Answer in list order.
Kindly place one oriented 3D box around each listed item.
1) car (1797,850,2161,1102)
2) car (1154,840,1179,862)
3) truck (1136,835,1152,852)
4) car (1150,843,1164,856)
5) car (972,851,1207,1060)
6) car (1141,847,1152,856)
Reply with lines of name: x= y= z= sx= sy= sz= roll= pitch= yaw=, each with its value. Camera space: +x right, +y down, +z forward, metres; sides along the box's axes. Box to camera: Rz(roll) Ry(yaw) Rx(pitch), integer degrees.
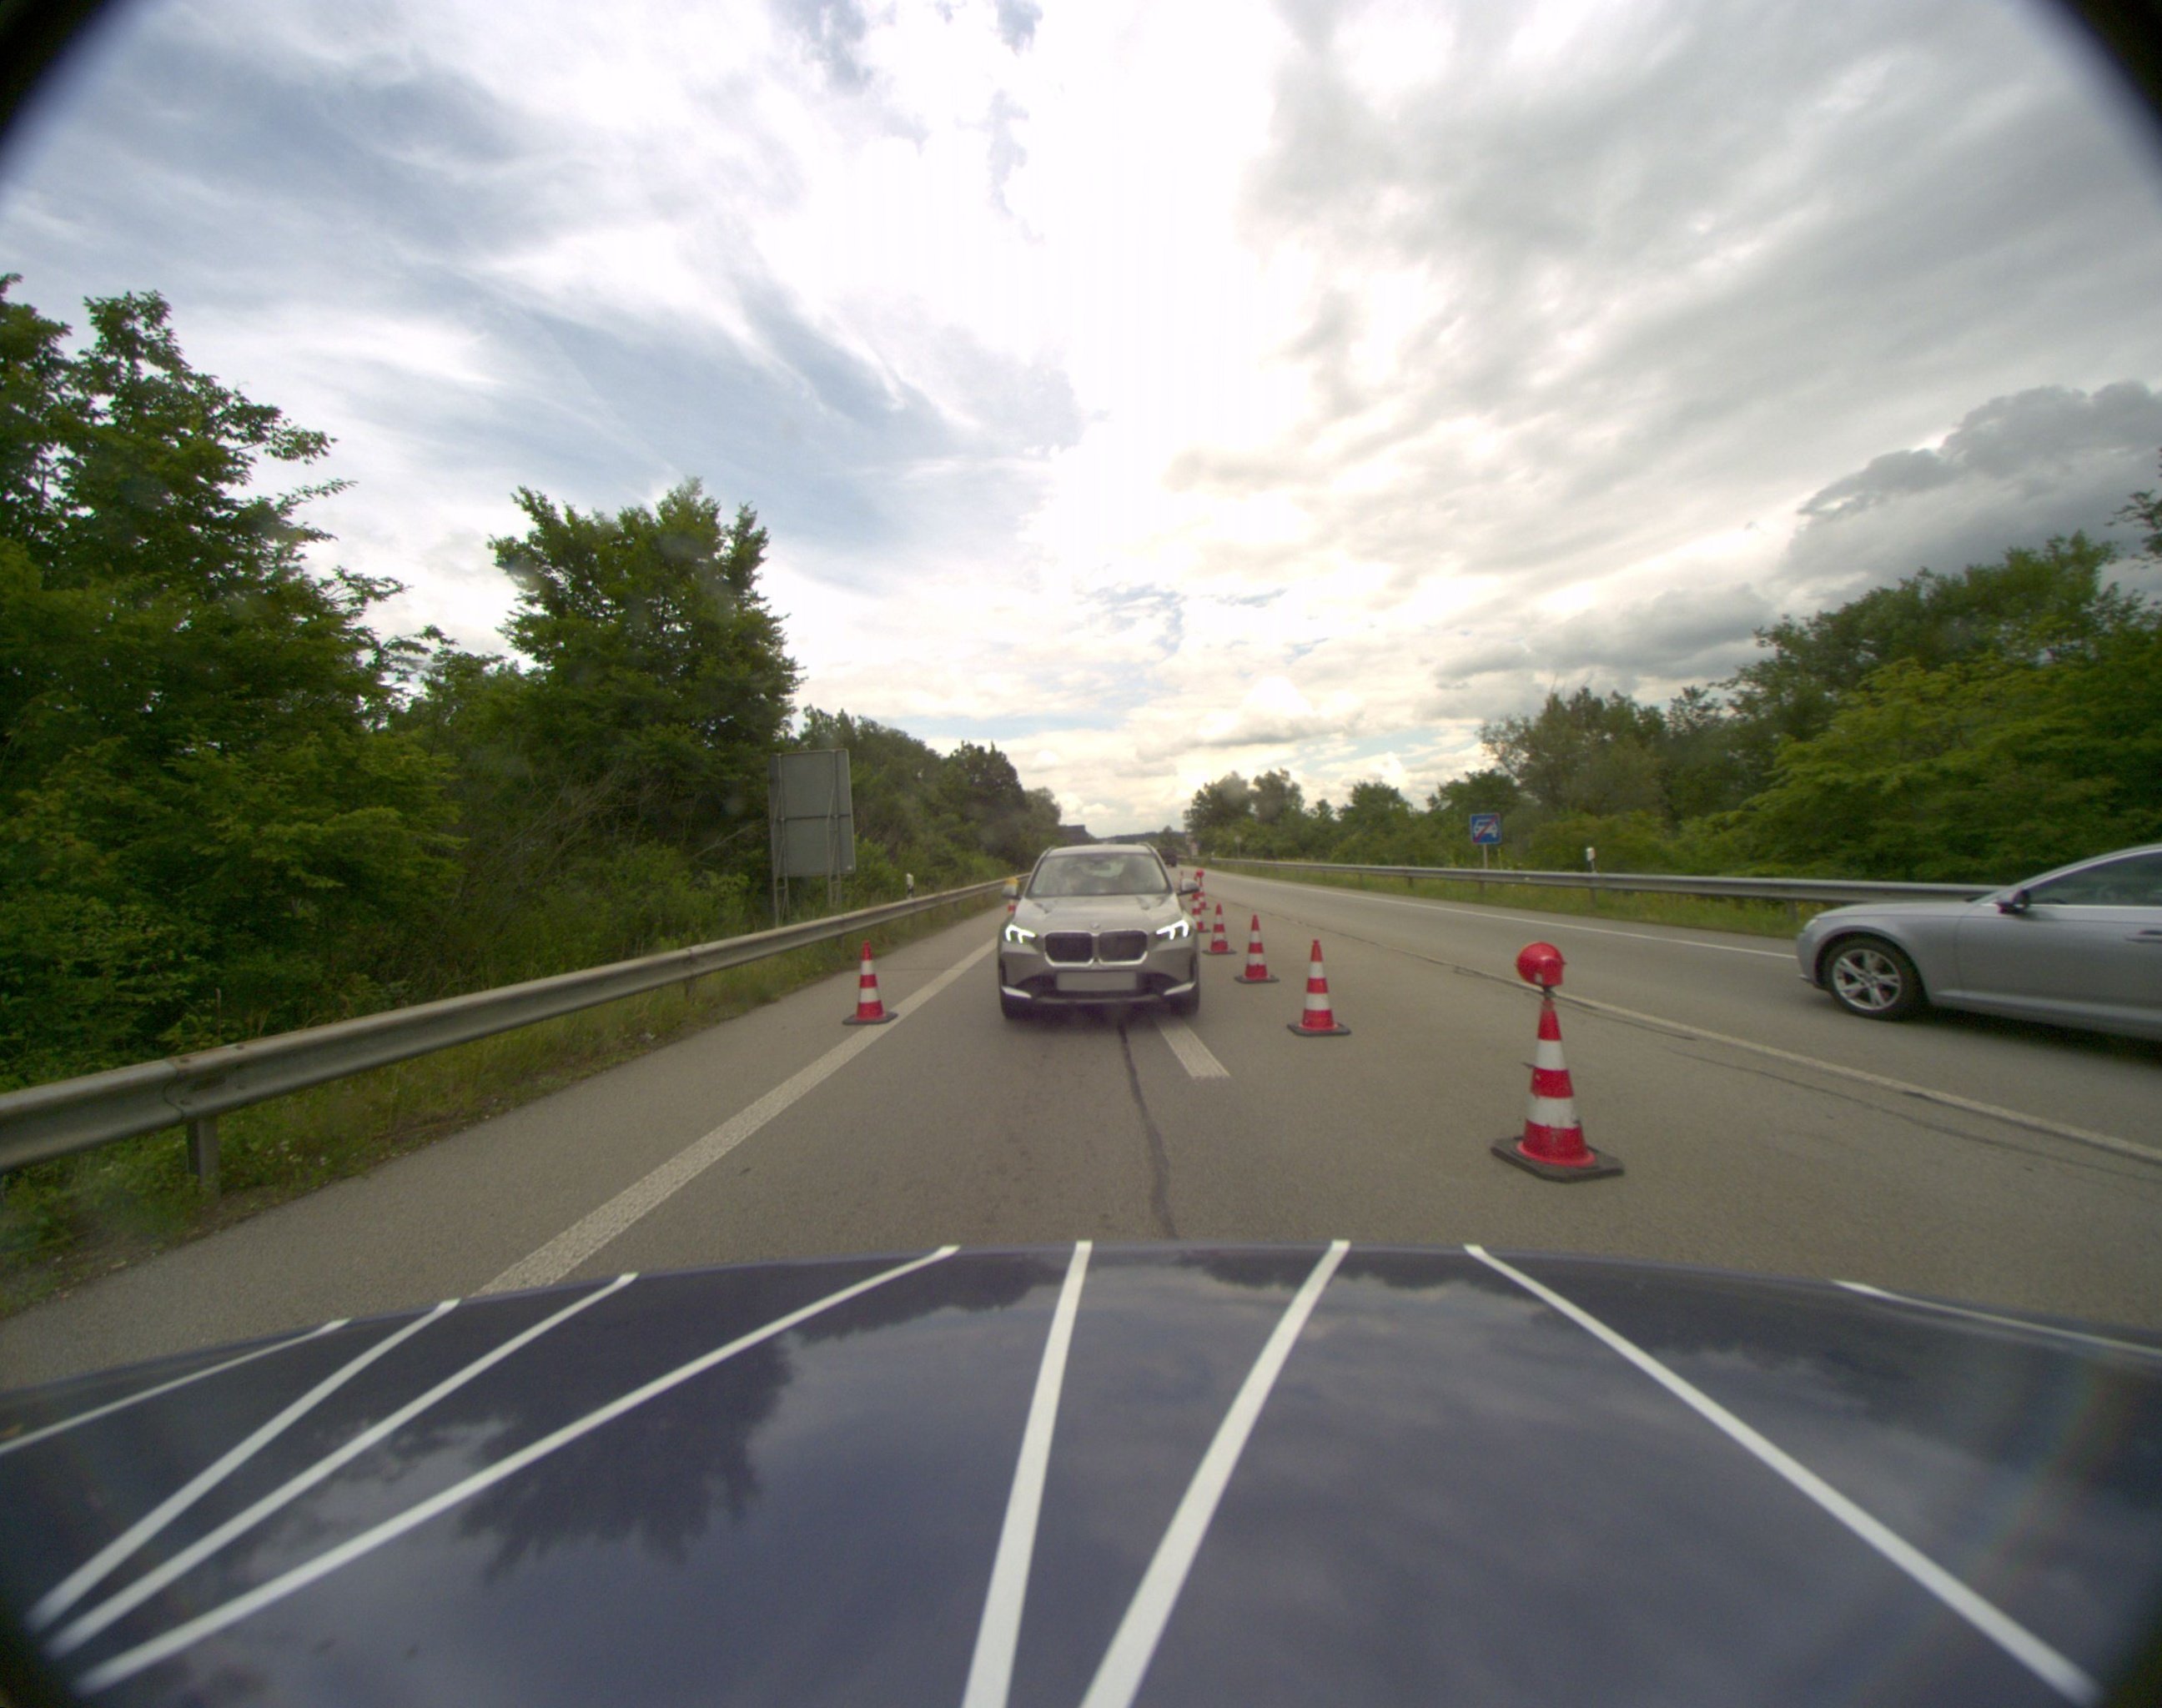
car: x=7.045 y=0.700 z=4.257 sx=1.684 sy=1.393 sz=4.372 roll=-2 pitch=0 yaw=-6
car: x=8.235 y=-0.300 z=73.682 sx=2.034 sy=1.976 sz=5.316 roll=-2 pitch=0 yaw=3
truck: x=14.327 y=-2.267 z=173.379 sx=3.113 sy=3.682 sz=9.544 roll=-2 pitch=0 yaw=2
car: x=11.593 y=-0.684 z=115.753 sx=1.929 sy=1.820 sz=4.533 roll=-2 pitch=0 yaw=3
car: x=0.182 y=0.806 z=8.256 sx=1.817 sy=1.598 sz=4.434 roll=-2 pitch=0 yaw=3
car: x=12.572 y=-0.538 z=145.332 sx=1.929 sy=1.597 sz=4.533 roll=-2 pitch=0 yaw=3
